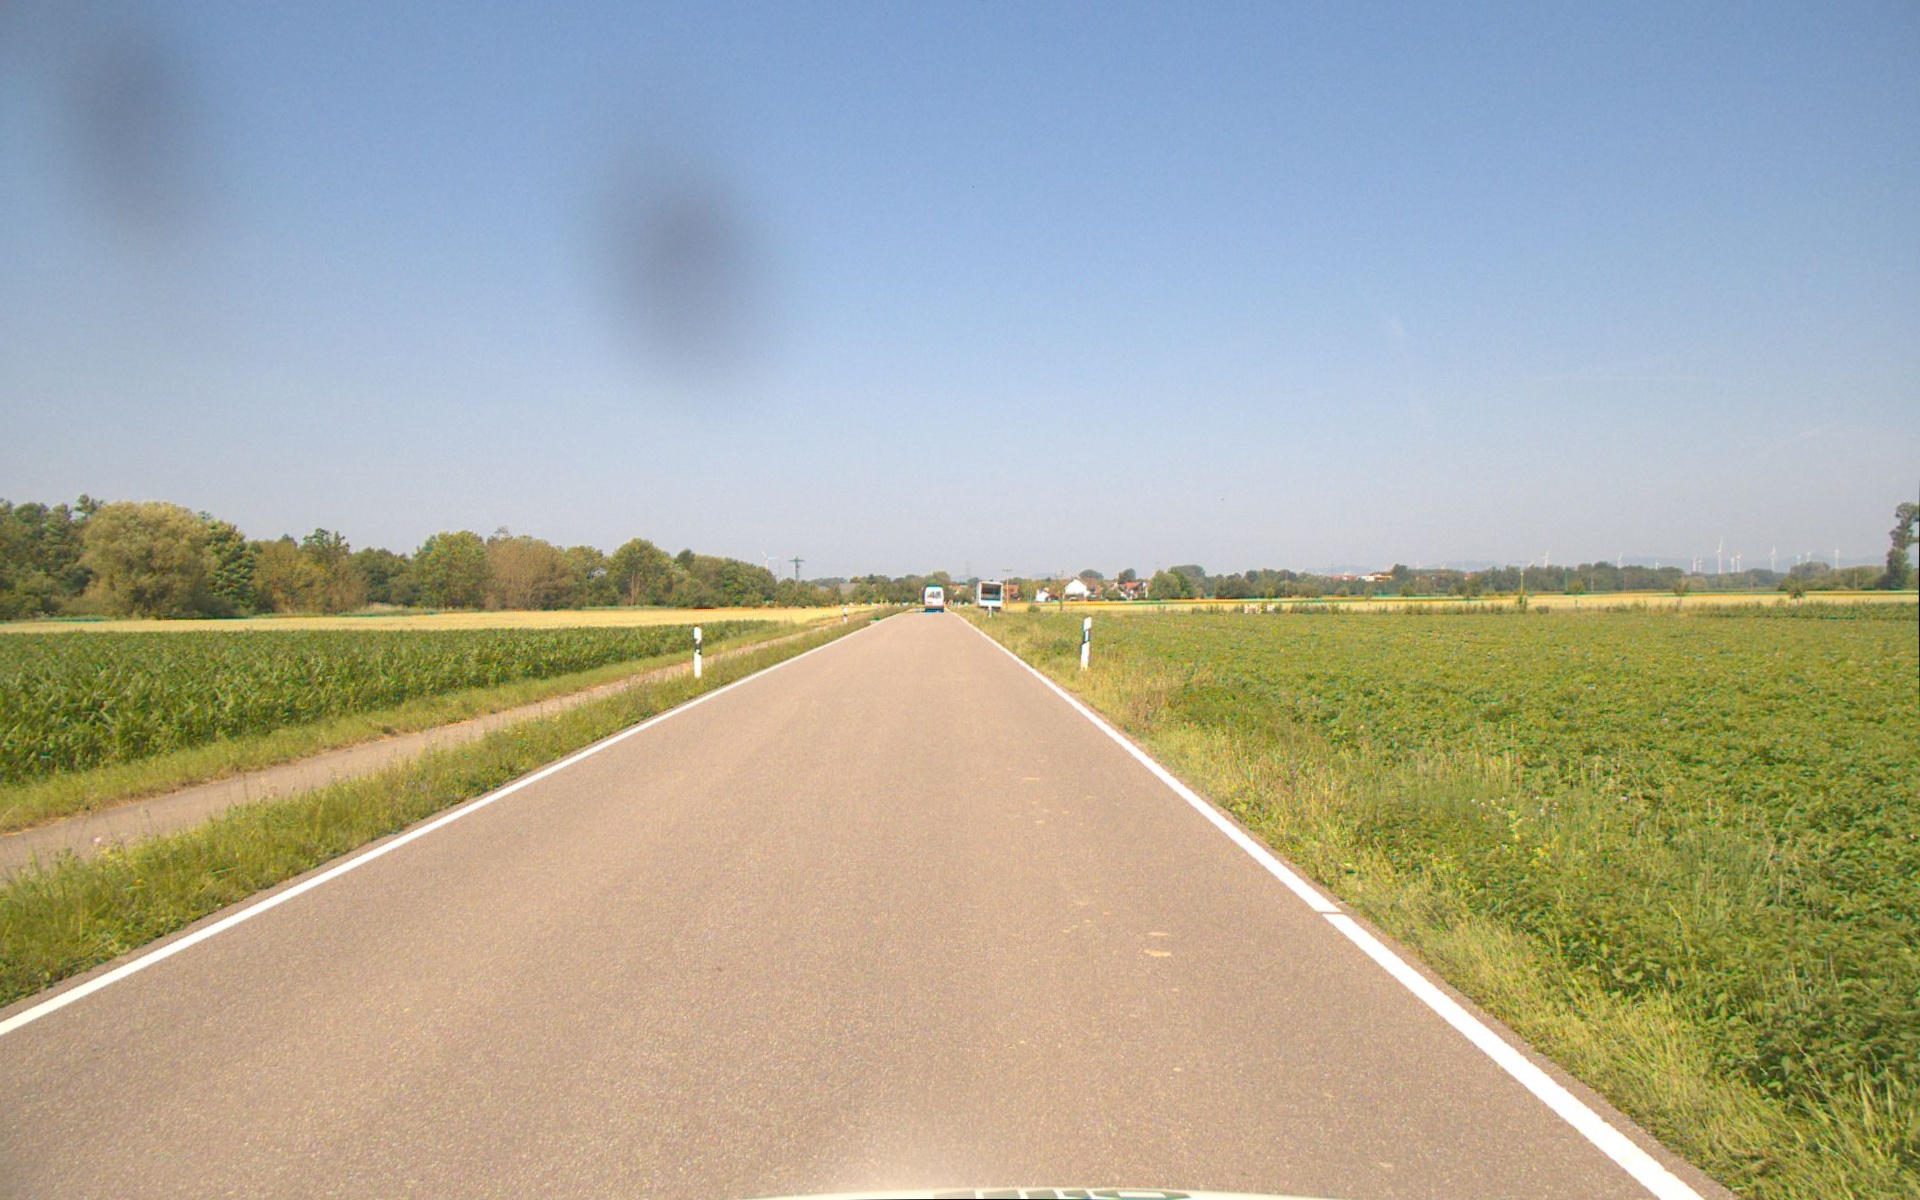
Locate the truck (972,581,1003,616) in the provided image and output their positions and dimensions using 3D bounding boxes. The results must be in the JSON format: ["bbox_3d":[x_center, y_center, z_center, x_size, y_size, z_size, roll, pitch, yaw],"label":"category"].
[{"bbox_3d":[2.478,-0.118,150.801,2.289,2.994,7.004,2,0,-3],"label":"truck"}]

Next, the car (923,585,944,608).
[{"bbox_3d":[-2.747,-0.343,169.709,2.064,2.344,5.494,1,0,-1],"label":"car"}]
